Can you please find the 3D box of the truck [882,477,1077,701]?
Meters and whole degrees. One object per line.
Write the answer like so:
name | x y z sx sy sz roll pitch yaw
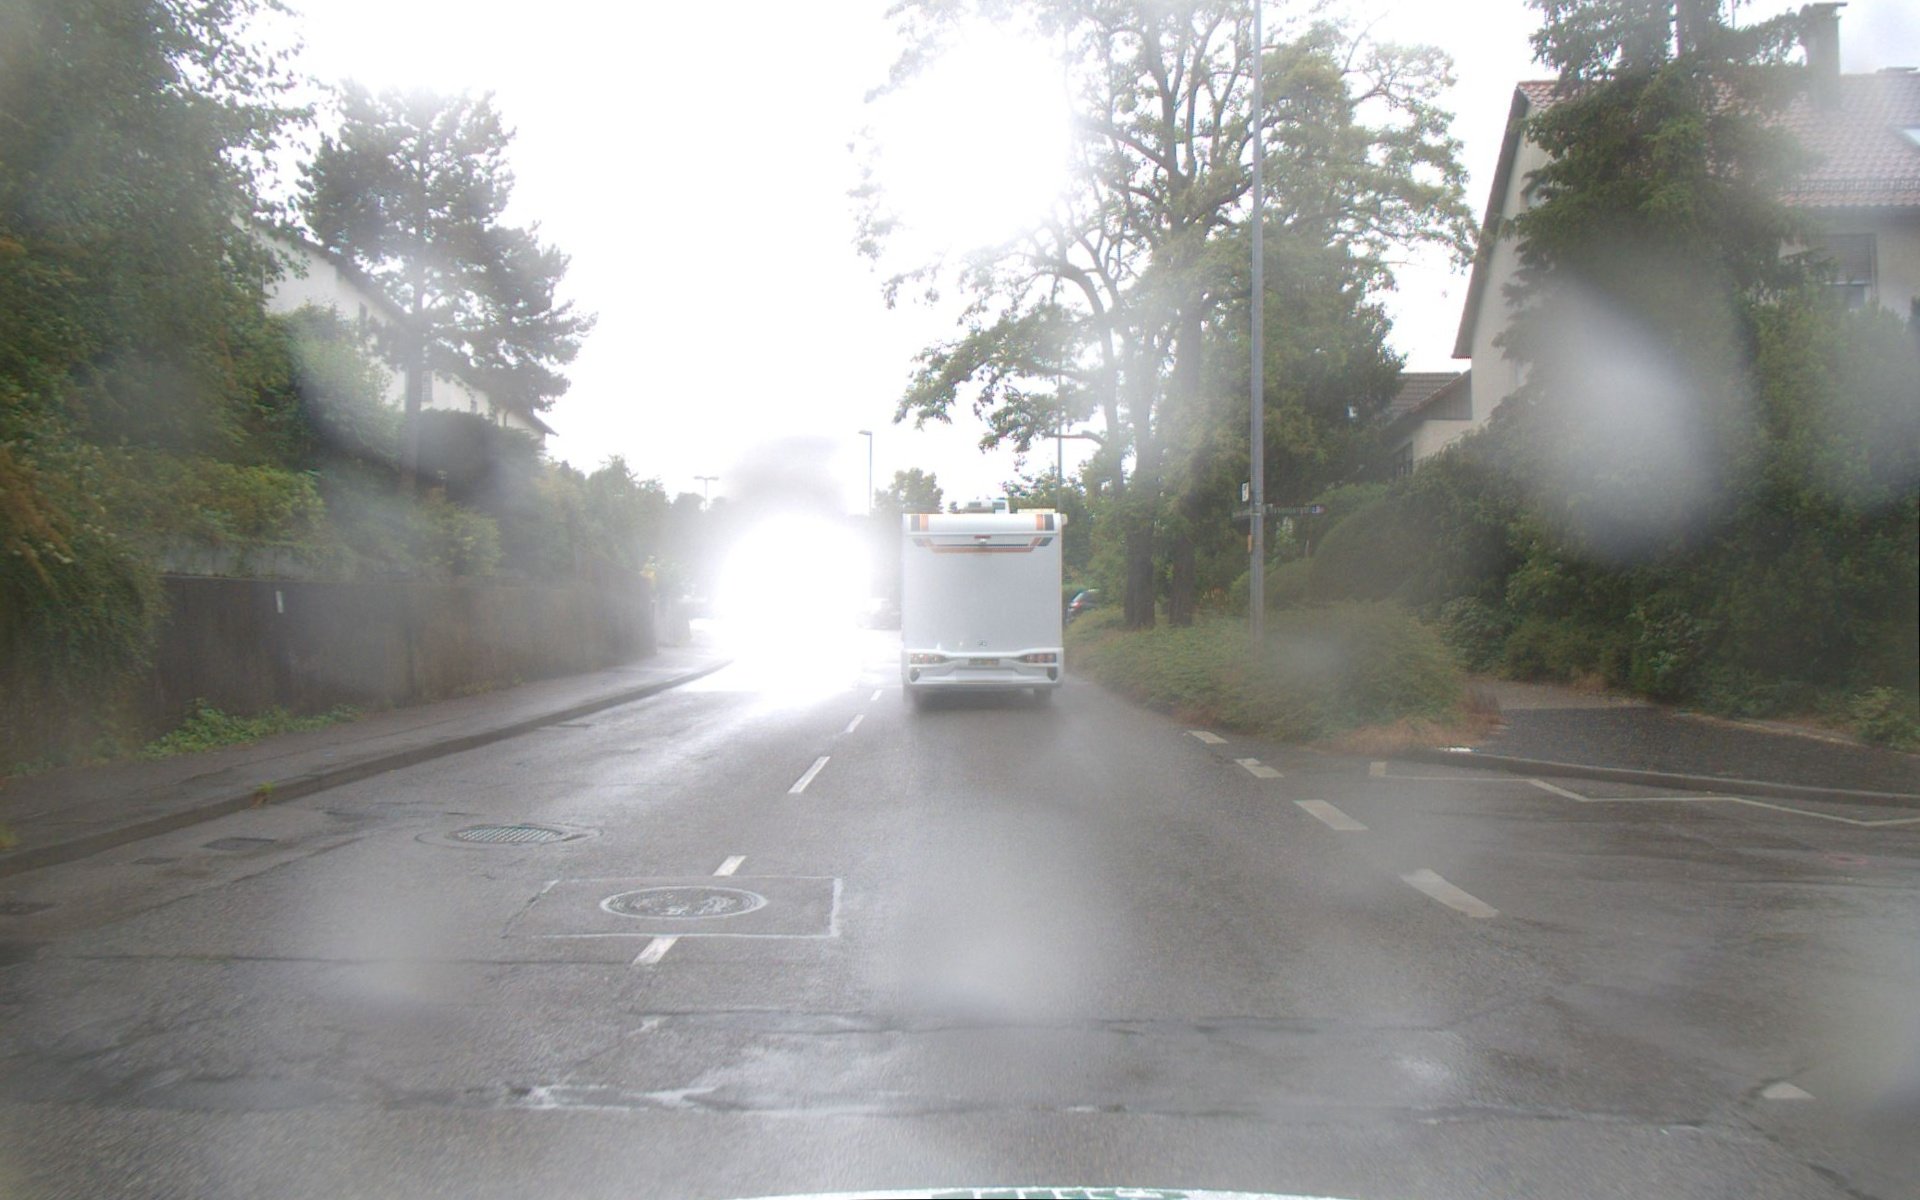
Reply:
truck | 0.166 -0.010 25.335 2.465 2.867 6.197 3 -3 -2

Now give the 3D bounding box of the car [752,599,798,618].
car | -11.435 0.516 102.119 1.625 1.120 3.968 1 0 -25

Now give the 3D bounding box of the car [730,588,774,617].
car | -13.496 0.175 107.231 1.625 1.751 3.967 5 -3 -25

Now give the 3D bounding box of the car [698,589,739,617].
car | -16.456 0.237 112.596 1.625 1.751 3.967 5 -3 -25

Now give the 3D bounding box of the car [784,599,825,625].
car | -9.138 0.692 96.842 1.516 1.350 3.979 4 -3 -18

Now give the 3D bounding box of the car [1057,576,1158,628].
car | 5.668 0.097 63.901 3.553 1.693 1.998 4 -3 -4

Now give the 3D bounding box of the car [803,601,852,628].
car | -7.435 0.821 92.223 1.519 1.350 3.836 5 -3 -23

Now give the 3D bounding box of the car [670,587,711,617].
car | -20.144 0.165 123.487 1.718 2.080 4.477 5 -3 -25

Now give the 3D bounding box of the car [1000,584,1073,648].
car | 2.257 0.526 49.898 1.953 1.669 3.999 3 -3 0
